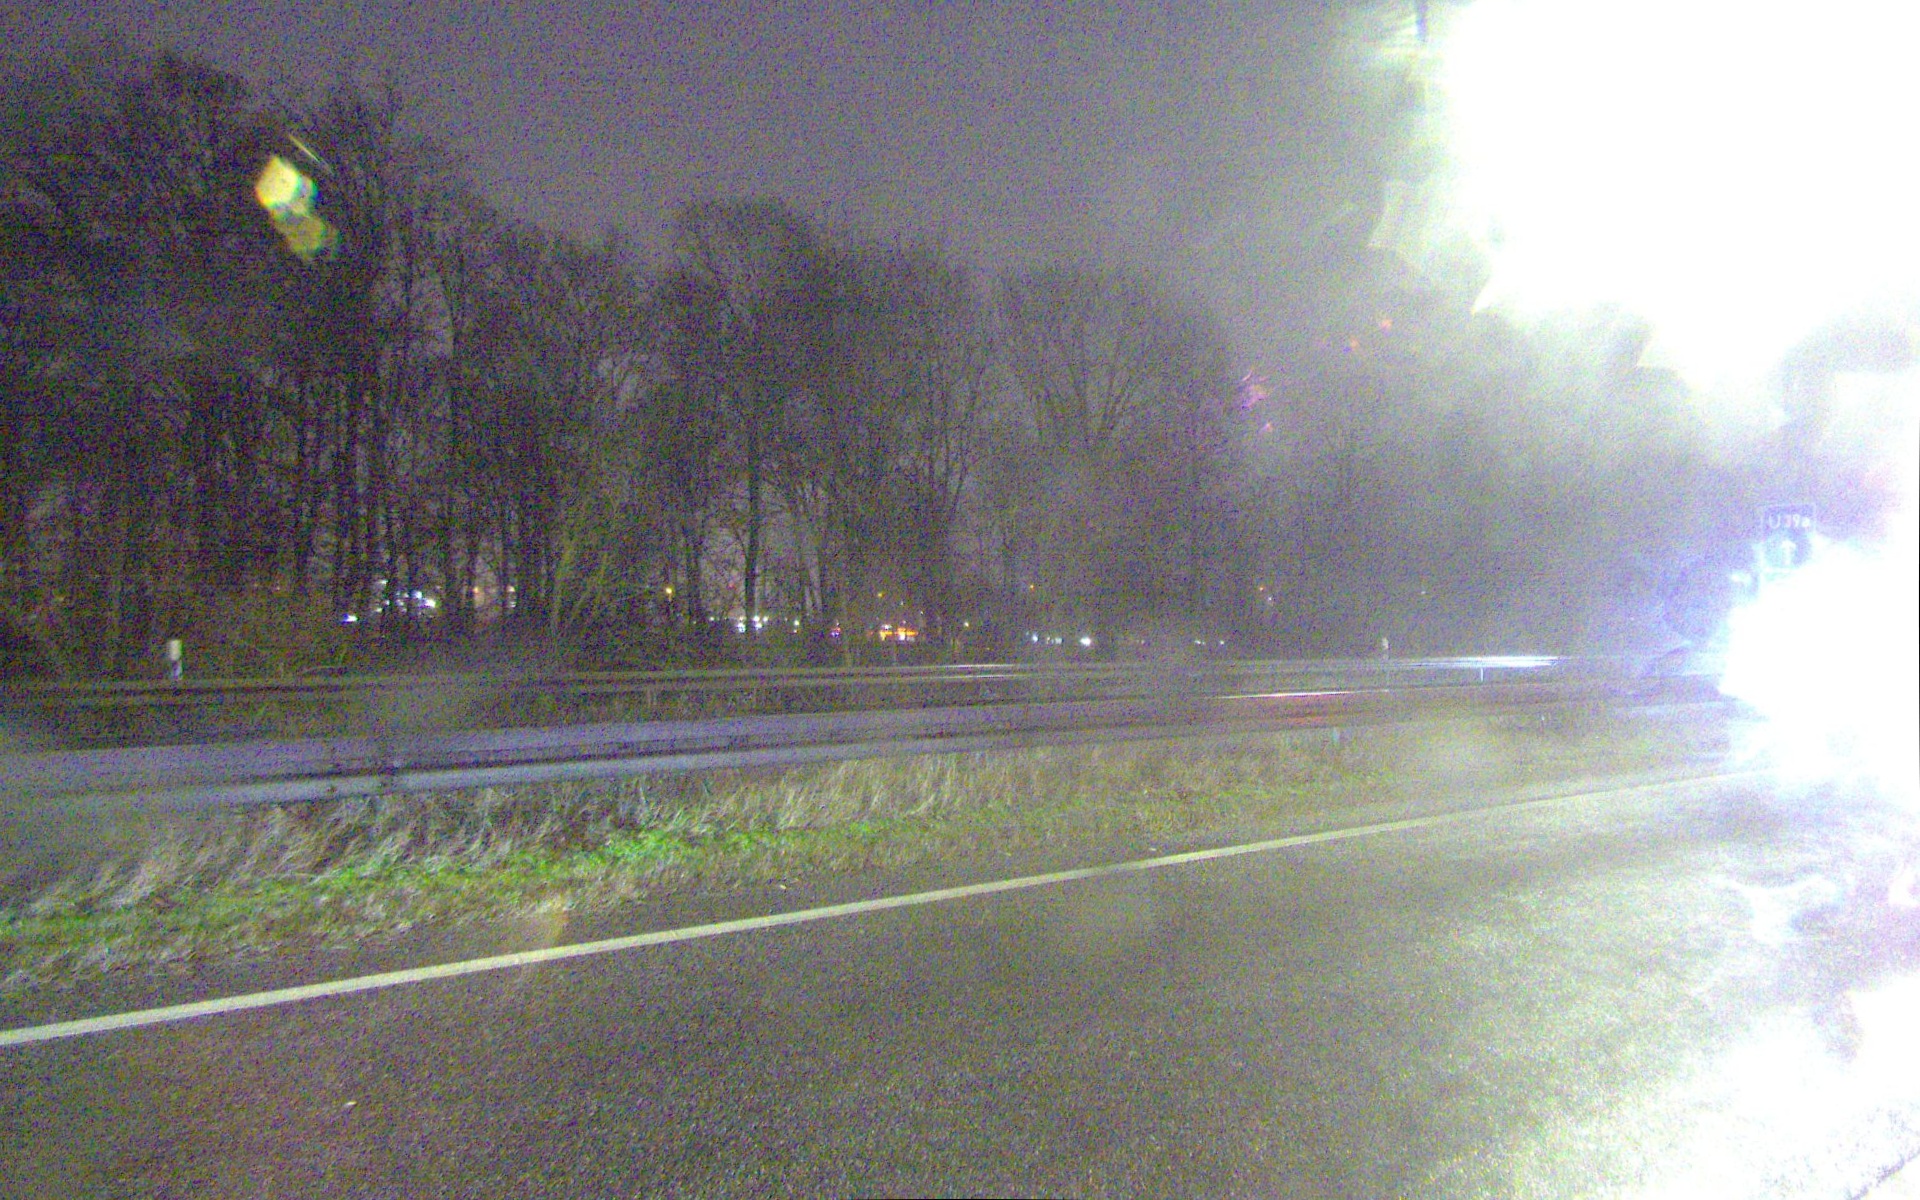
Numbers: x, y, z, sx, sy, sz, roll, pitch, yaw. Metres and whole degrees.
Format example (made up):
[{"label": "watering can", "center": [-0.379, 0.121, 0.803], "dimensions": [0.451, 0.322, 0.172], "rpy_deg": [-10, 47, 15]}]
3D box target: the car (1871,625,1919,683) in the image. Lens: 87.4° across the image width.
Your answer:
[{"label": "car", "center": [27.747, 1.507, 28.506], "dimensions": [3.964, 1.572, 1.743], "rpy_deg": [1, -1, -31]}]
